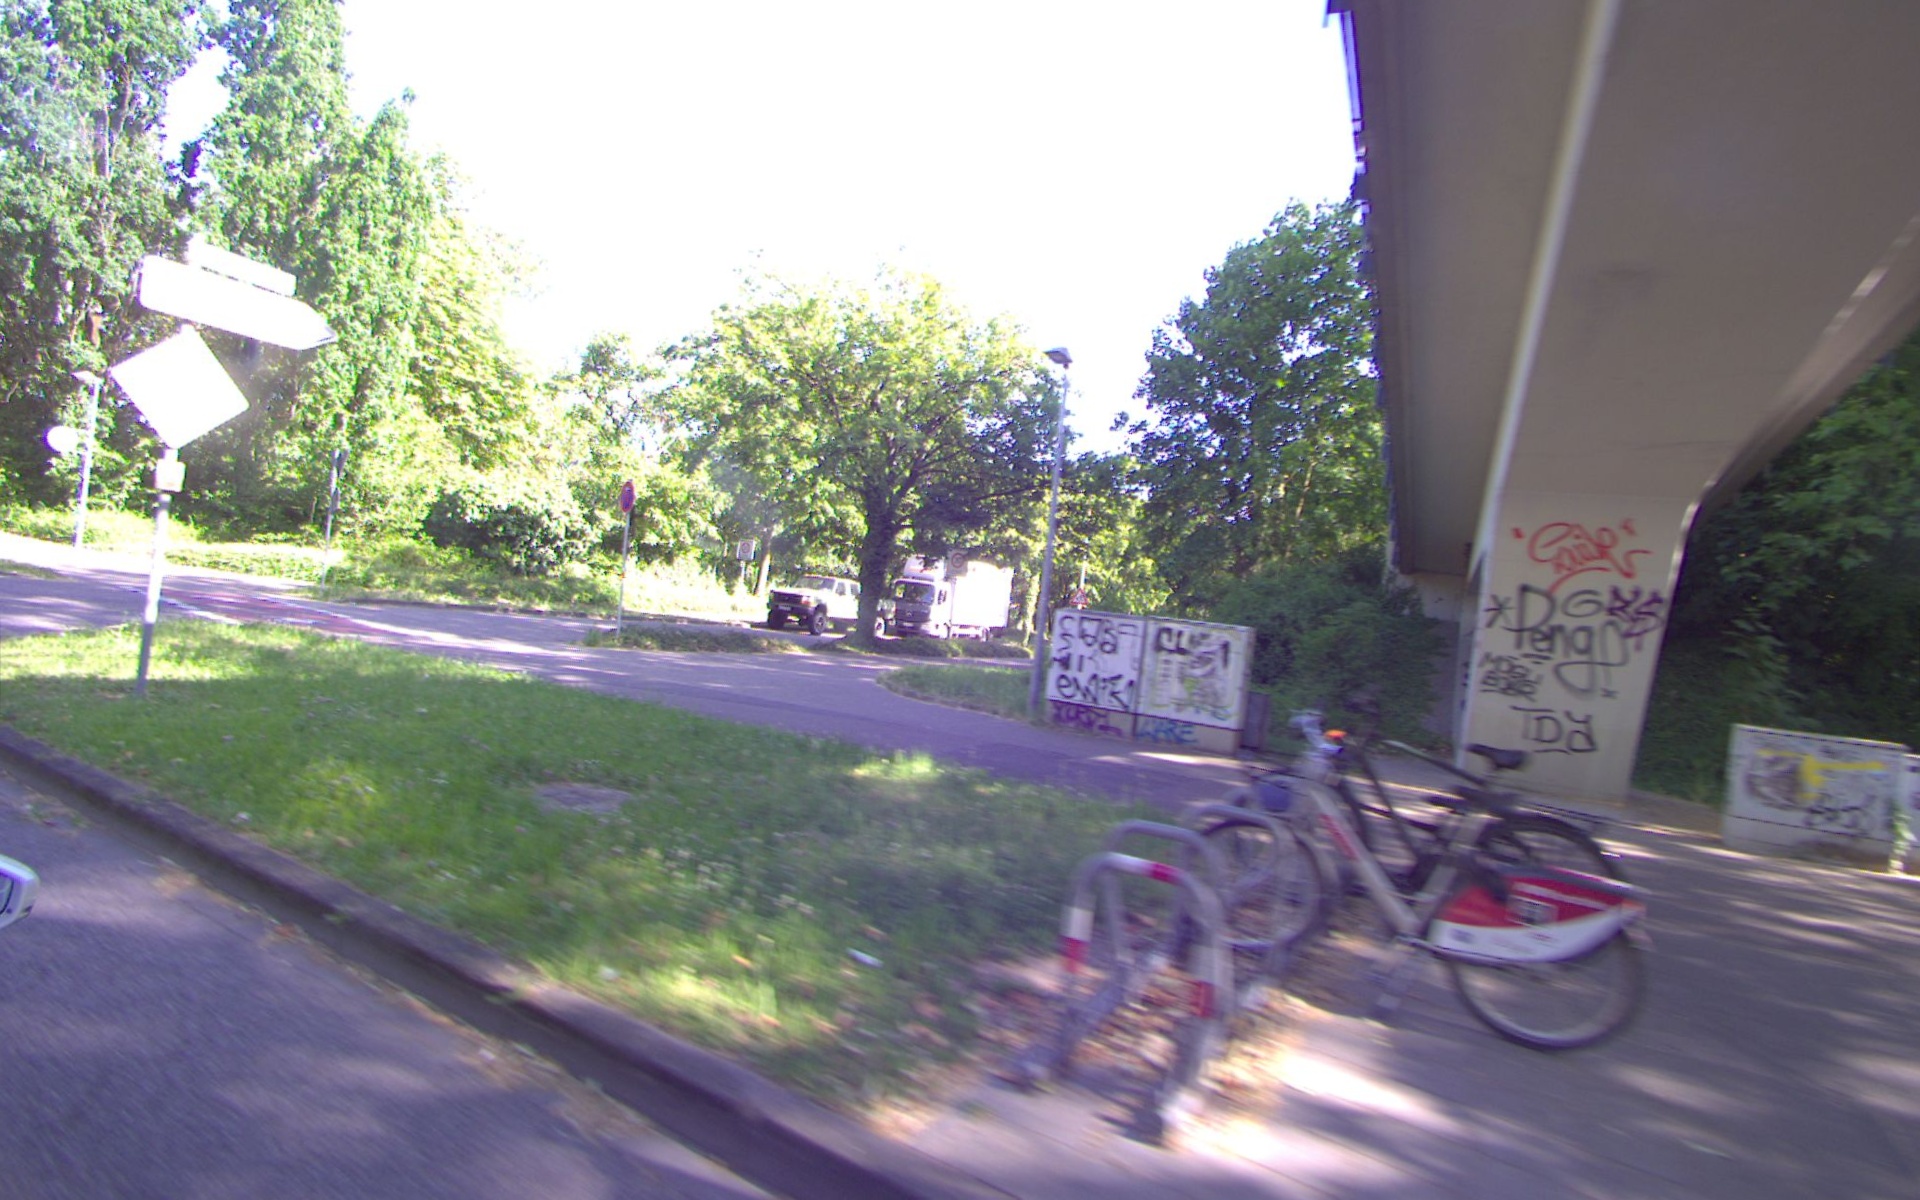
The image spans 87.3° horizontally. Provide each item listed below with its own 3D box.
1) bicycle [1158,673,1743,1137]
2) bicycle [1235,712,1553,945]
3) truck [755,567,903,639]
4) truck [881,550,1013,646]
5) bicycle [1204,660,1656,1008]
[{"bbox_3d":[1.768,1.018,3.872,1.770,1.199,0.590,8,4,31],"label":"bicycle"},{"bbox_3d":[2.339,1.183,5.491,1.448,0.864,0.505,8,4,31],"label":"bicycle"},{"bbox_3d":[-4.700,0.210,37.466,2.082,2.119,6.644,6,-1,25],"label":"truck"},{"bbox_3d":[-0.391,0.049,46.328,2.576,3.671,7.952,6,-1,25],"label":"truck"},{"bbox_3d":[2.207,1.024,4.897,1.770,1.199,0.590,8,4,31],"label":"bicycle"}]
